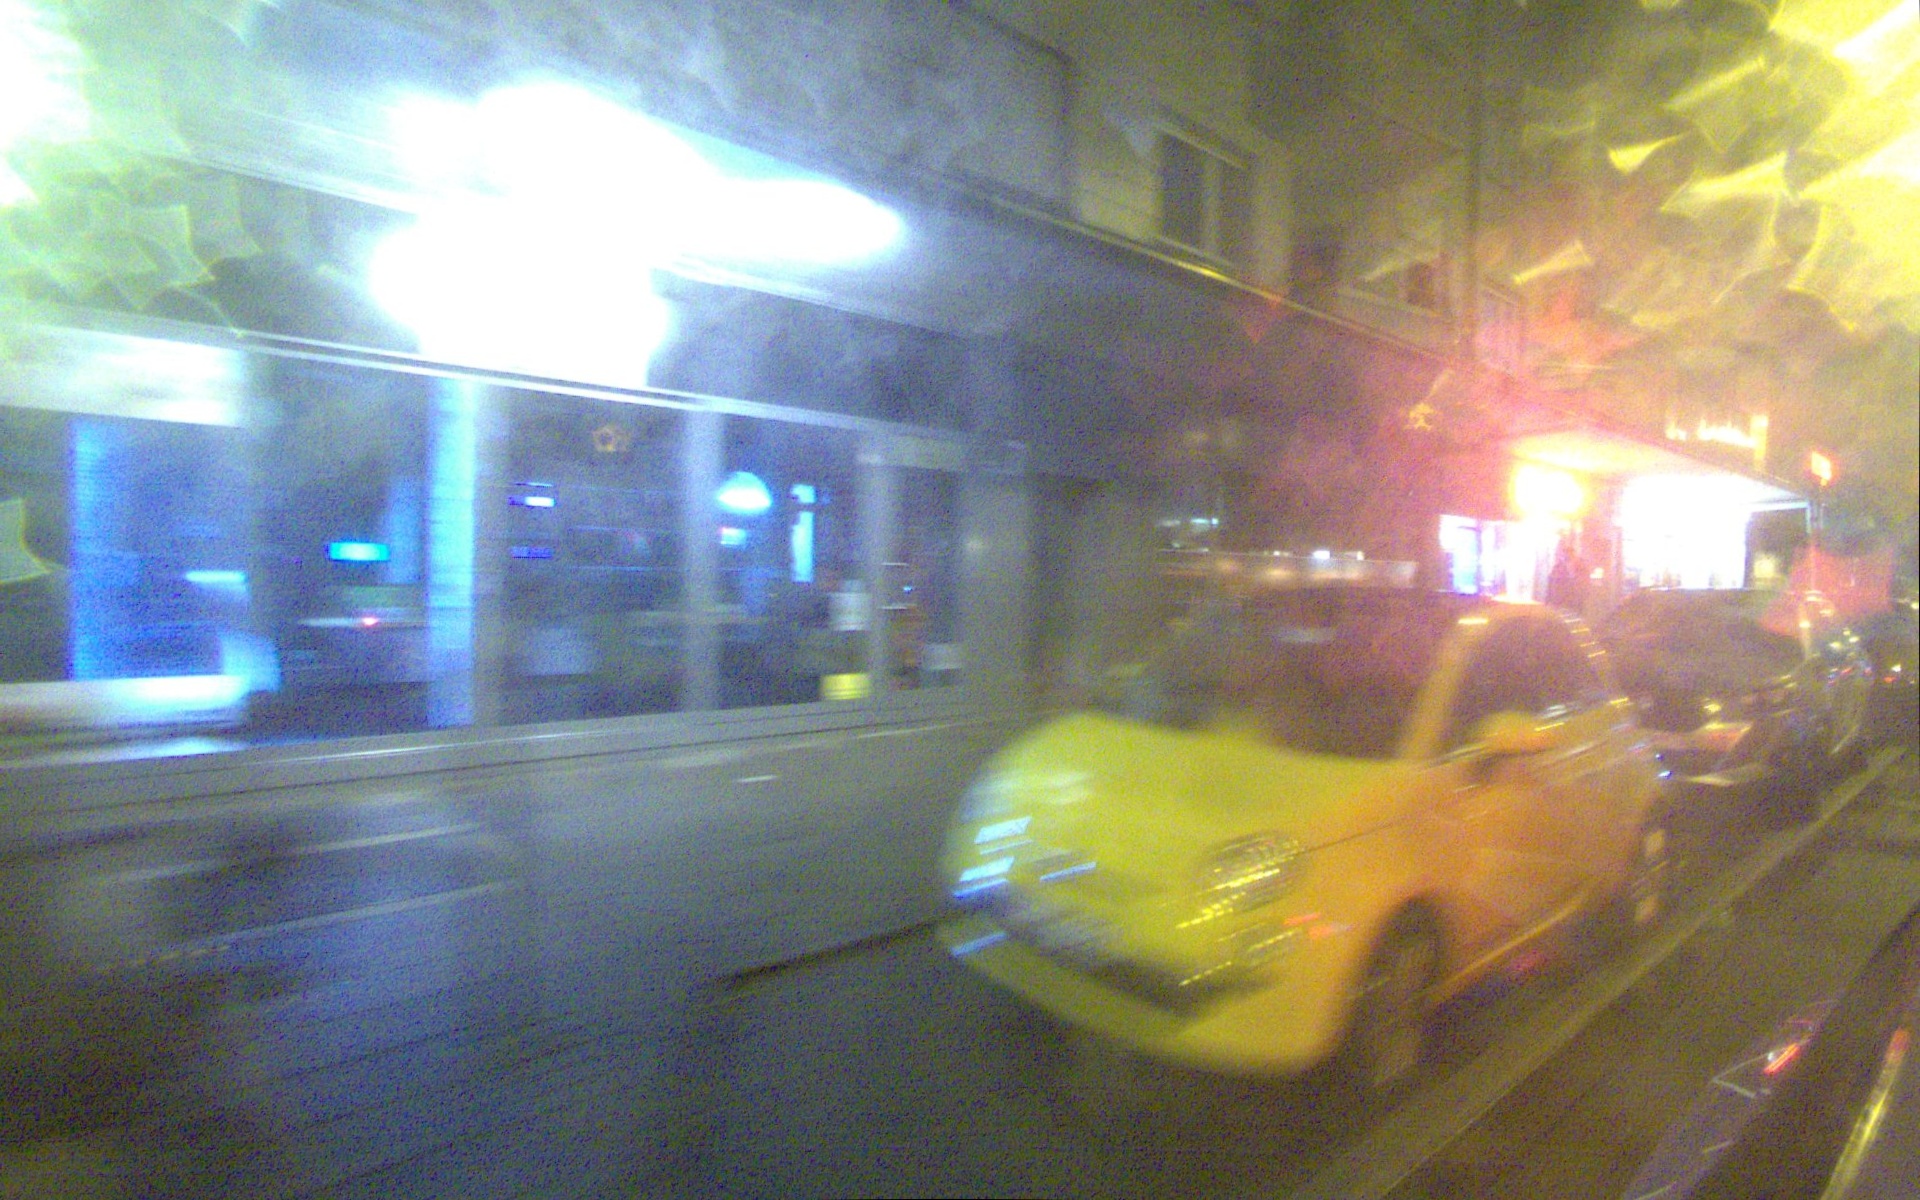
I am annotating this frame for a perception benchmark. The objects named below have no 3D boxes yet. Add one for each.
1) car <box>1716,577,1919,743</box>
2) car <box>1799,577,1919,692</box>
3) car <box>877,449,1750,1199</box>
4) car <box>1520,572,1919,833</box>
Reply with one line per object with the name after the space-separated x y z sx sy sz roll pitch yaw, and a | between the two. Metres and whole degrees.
10.230 0.540 11.422 4.089 1.525 1.845 -1 3 -41 | car
14.321 0.454 15.273 4.089 1.525 1.845 -1 3 -41 | car
1.697 0.481 4.155 3.789 1.743 1.676 -1 3 -41 | car
6.188 0.583 8.050 4.089 1.525 1.689 -1 3 -41 | car
